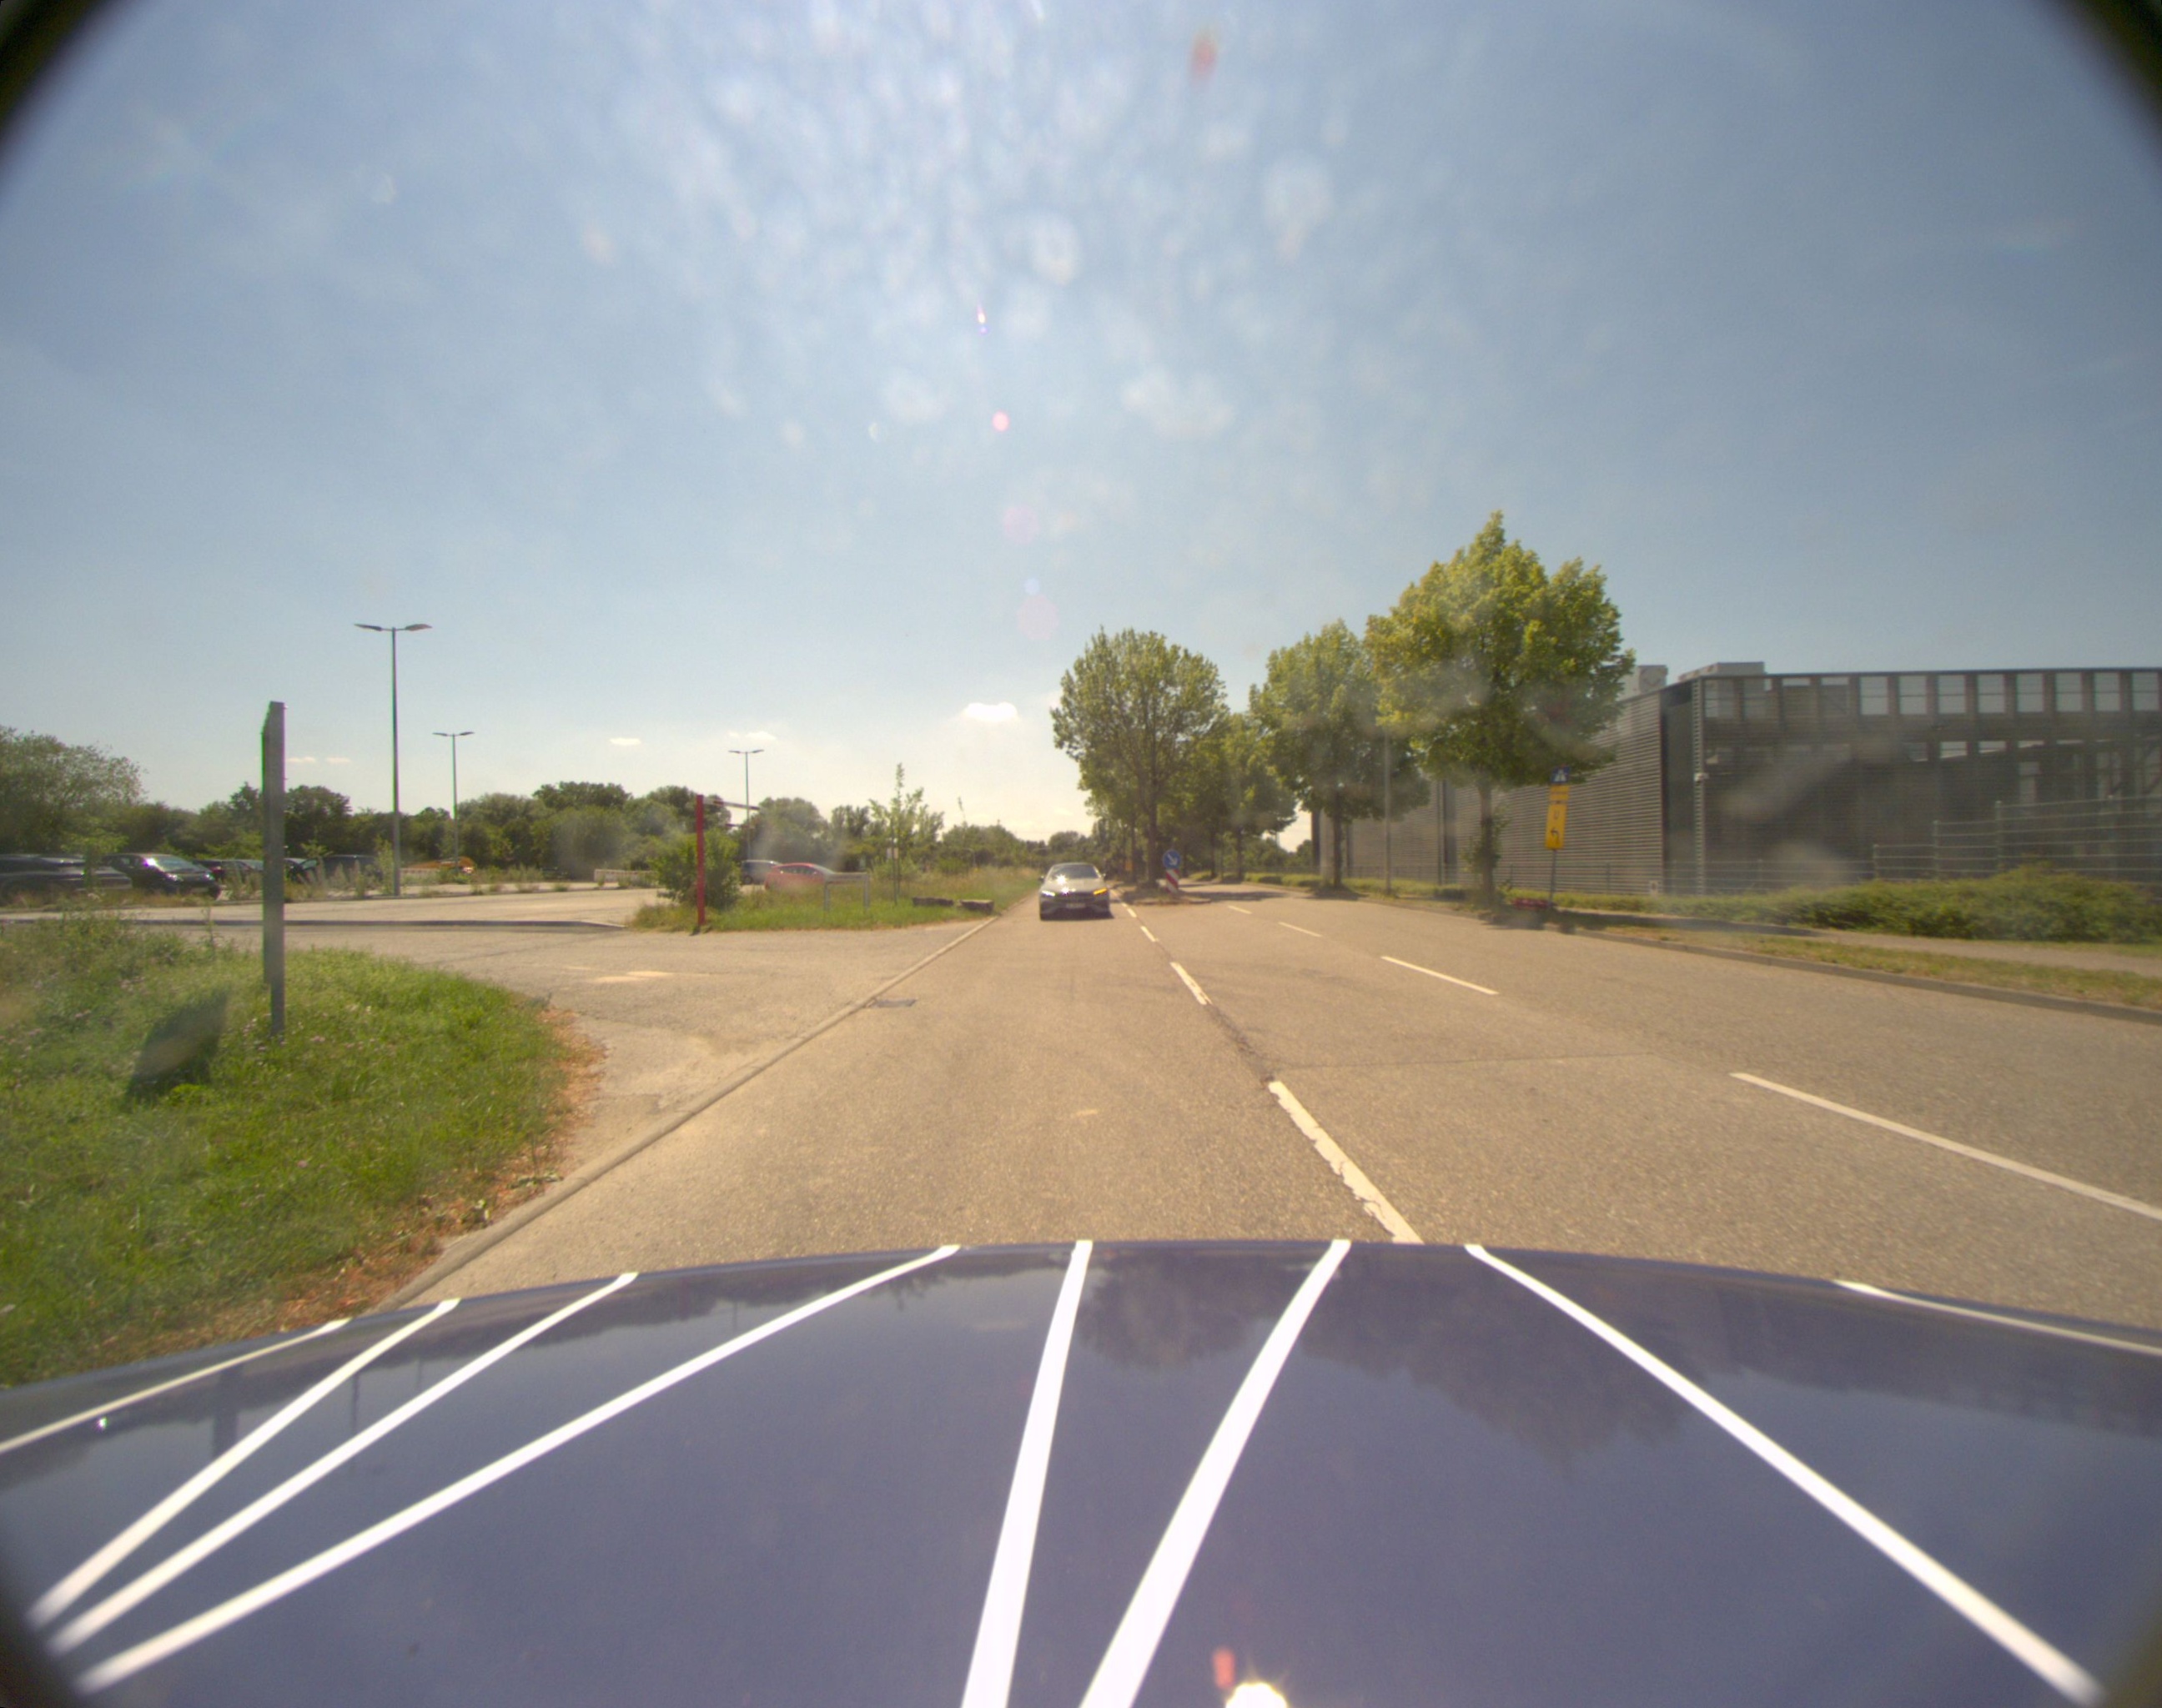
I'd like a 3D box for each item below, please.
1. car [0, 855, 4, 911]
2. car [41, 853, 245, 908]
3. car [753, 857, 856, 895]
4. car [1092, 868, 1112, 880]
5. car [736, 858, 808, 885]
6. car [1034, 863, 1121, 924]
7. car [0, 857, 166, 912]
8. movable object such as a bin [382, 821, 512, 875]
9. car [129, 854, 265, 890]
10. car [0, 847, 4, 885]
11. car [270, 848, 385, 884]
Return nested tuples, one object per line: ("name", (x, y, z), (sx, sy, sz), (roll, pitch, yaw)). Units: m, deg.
("car", (-28.427, 0.697, 17.686), (3.997, 1.387, 1.927), (0, 0, 0))
("car", (-29.096, 0.805, 23.672), (3.997, 1.631, 1.927), (0, 0, 0))
("car", (-12.616, 0.986, 34.811), (3.997, 1.713, 1.927), (0, 0, 0))
("car", (3.384, 3.200, 121.286), (2.001, 1.697, 3.859), (-4, 0, -17))
("car", (-22.609, 1.273, 55.686), (4.474, 1.903, 1.940), (1, -2, -1))
("car", (0.030, 1.022, 21.341), (1.921, 1.433, 4.484), (-3, -1, 6))
("car", (-27.727, 0.778, 20.396), (3.997, 1.387, 1.927), (0, 0, 0))
("movable object such as a bin", (-53.697, -0.374, 64.724), (8.122, 4.018, 2.981), (3, -4, -35))
("car", (-44.508, 0.927, 38.368), (4.001, 1.629, 1.999), (2, -4, -11))
("car", (-44.180, 0.411, 28.478), (4.001, 1.629, 1.999), (2, -4, -11))
("car", (-38.501, 0.643, 38.898), (3.998, 1.747, 1.758), (1, -1, -2))
